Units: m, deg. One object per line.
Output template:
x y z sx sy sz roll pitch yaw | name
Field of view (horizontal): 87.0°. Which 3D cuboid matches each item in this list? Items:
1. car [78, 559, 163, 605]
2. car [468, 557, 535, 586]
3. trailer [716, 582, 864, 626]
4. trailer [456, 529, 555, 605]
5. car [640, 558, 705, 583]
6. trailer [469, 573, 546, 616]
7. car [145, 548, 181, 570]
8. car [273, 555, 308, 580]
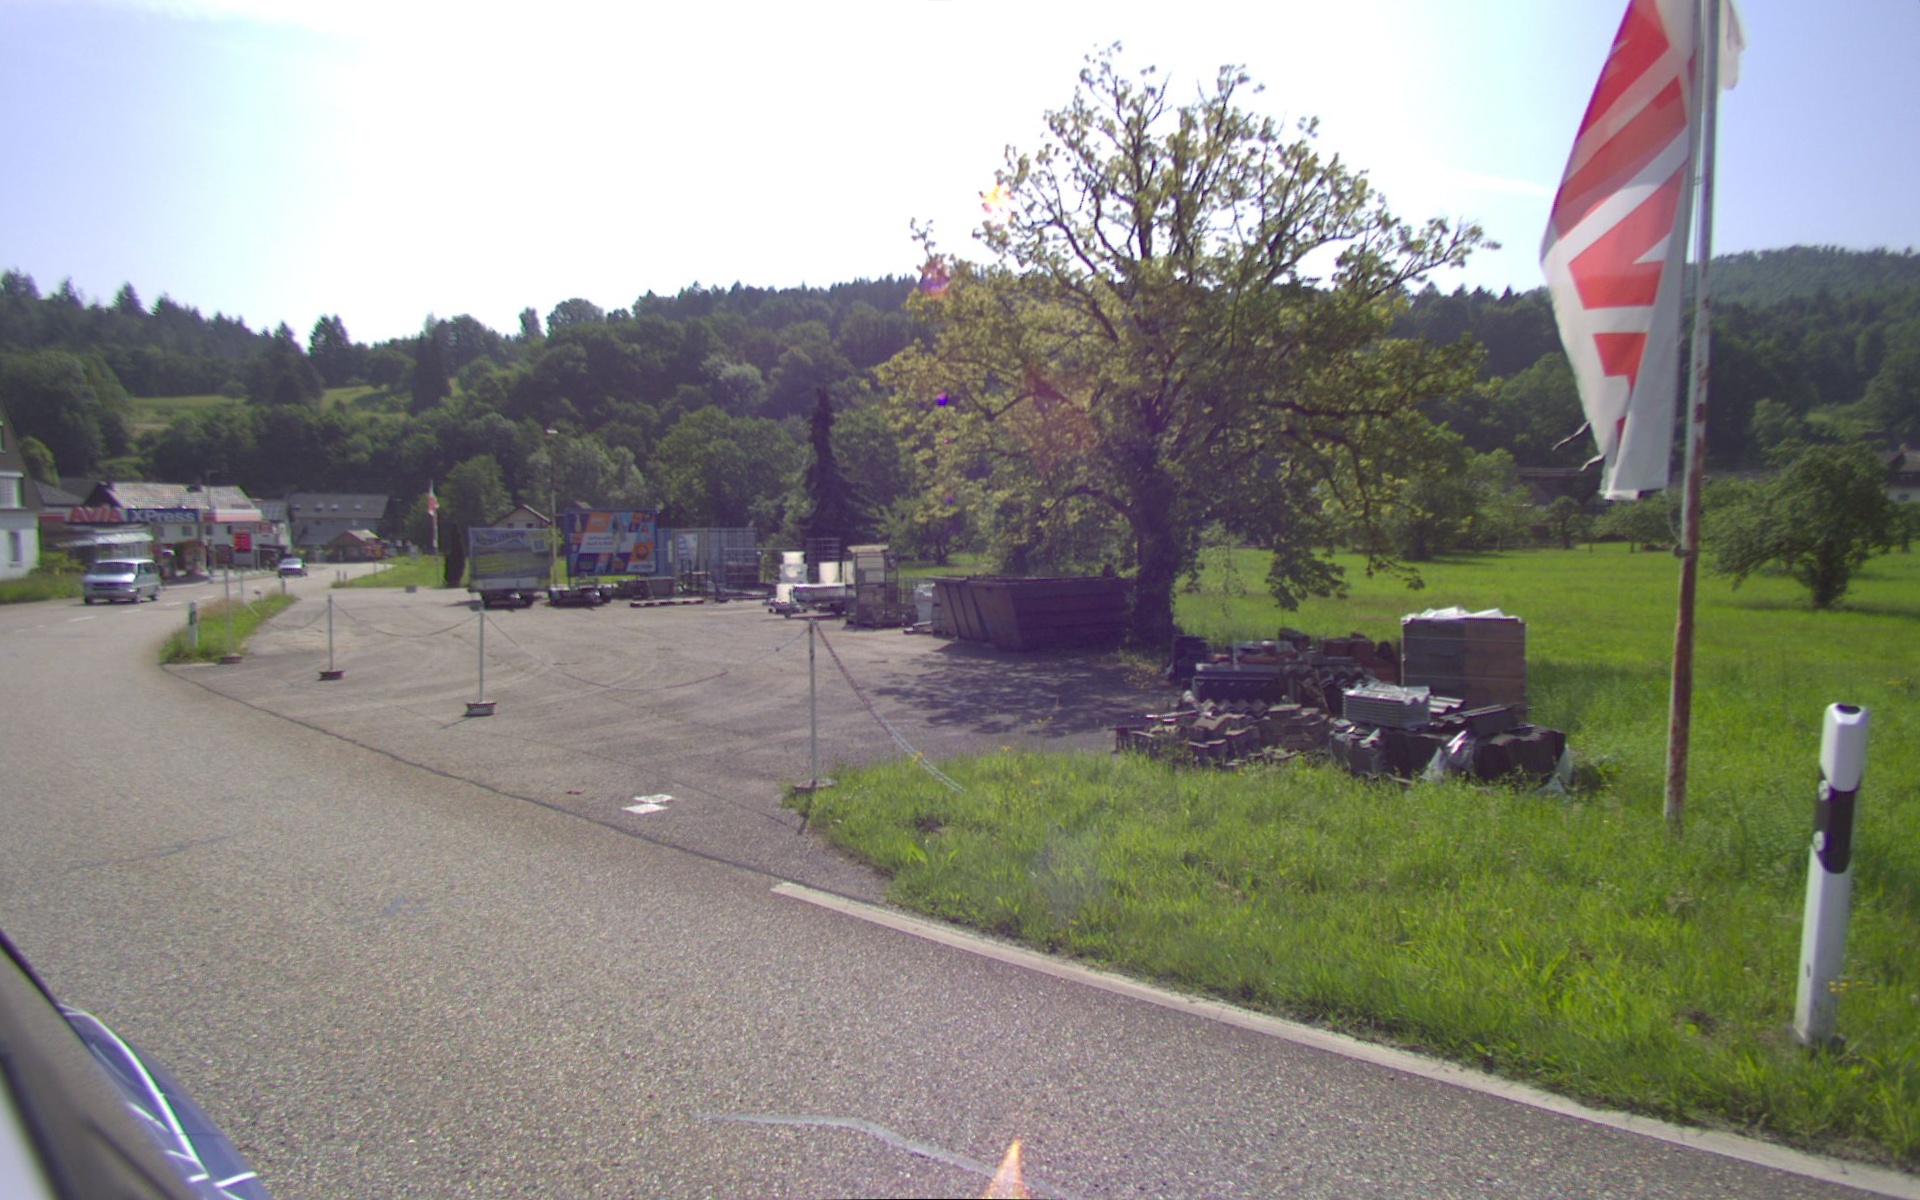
-37.030 -0.861 44.779 1.864 1.871 4.719 -2 3 -27 | car
-28.632 -1.797 63.413 1.811 1.661 4.906 -1 3 2 | car
-5.003 0.080 29.814 3.878 0.946 1.874 -4 5 -28 | trailer
-18.723 -1.411 41.670 3.346 2.933 1.889 -4 4 -33 | trailer
-18.480 -1.936 65.259 3.868 1.496 1.923 -2 3 -12 | car
-16.686 -0.270 37.168 1.966 1.235 5.564 -4 5 -30 | trailer
-72.106 -3.703 91.598 1.657 1.829 4.014 -4 5 -26 | car
-54.304 -2.680 82.109 1.738 1.758 3.995 -3 6 -25 | car
